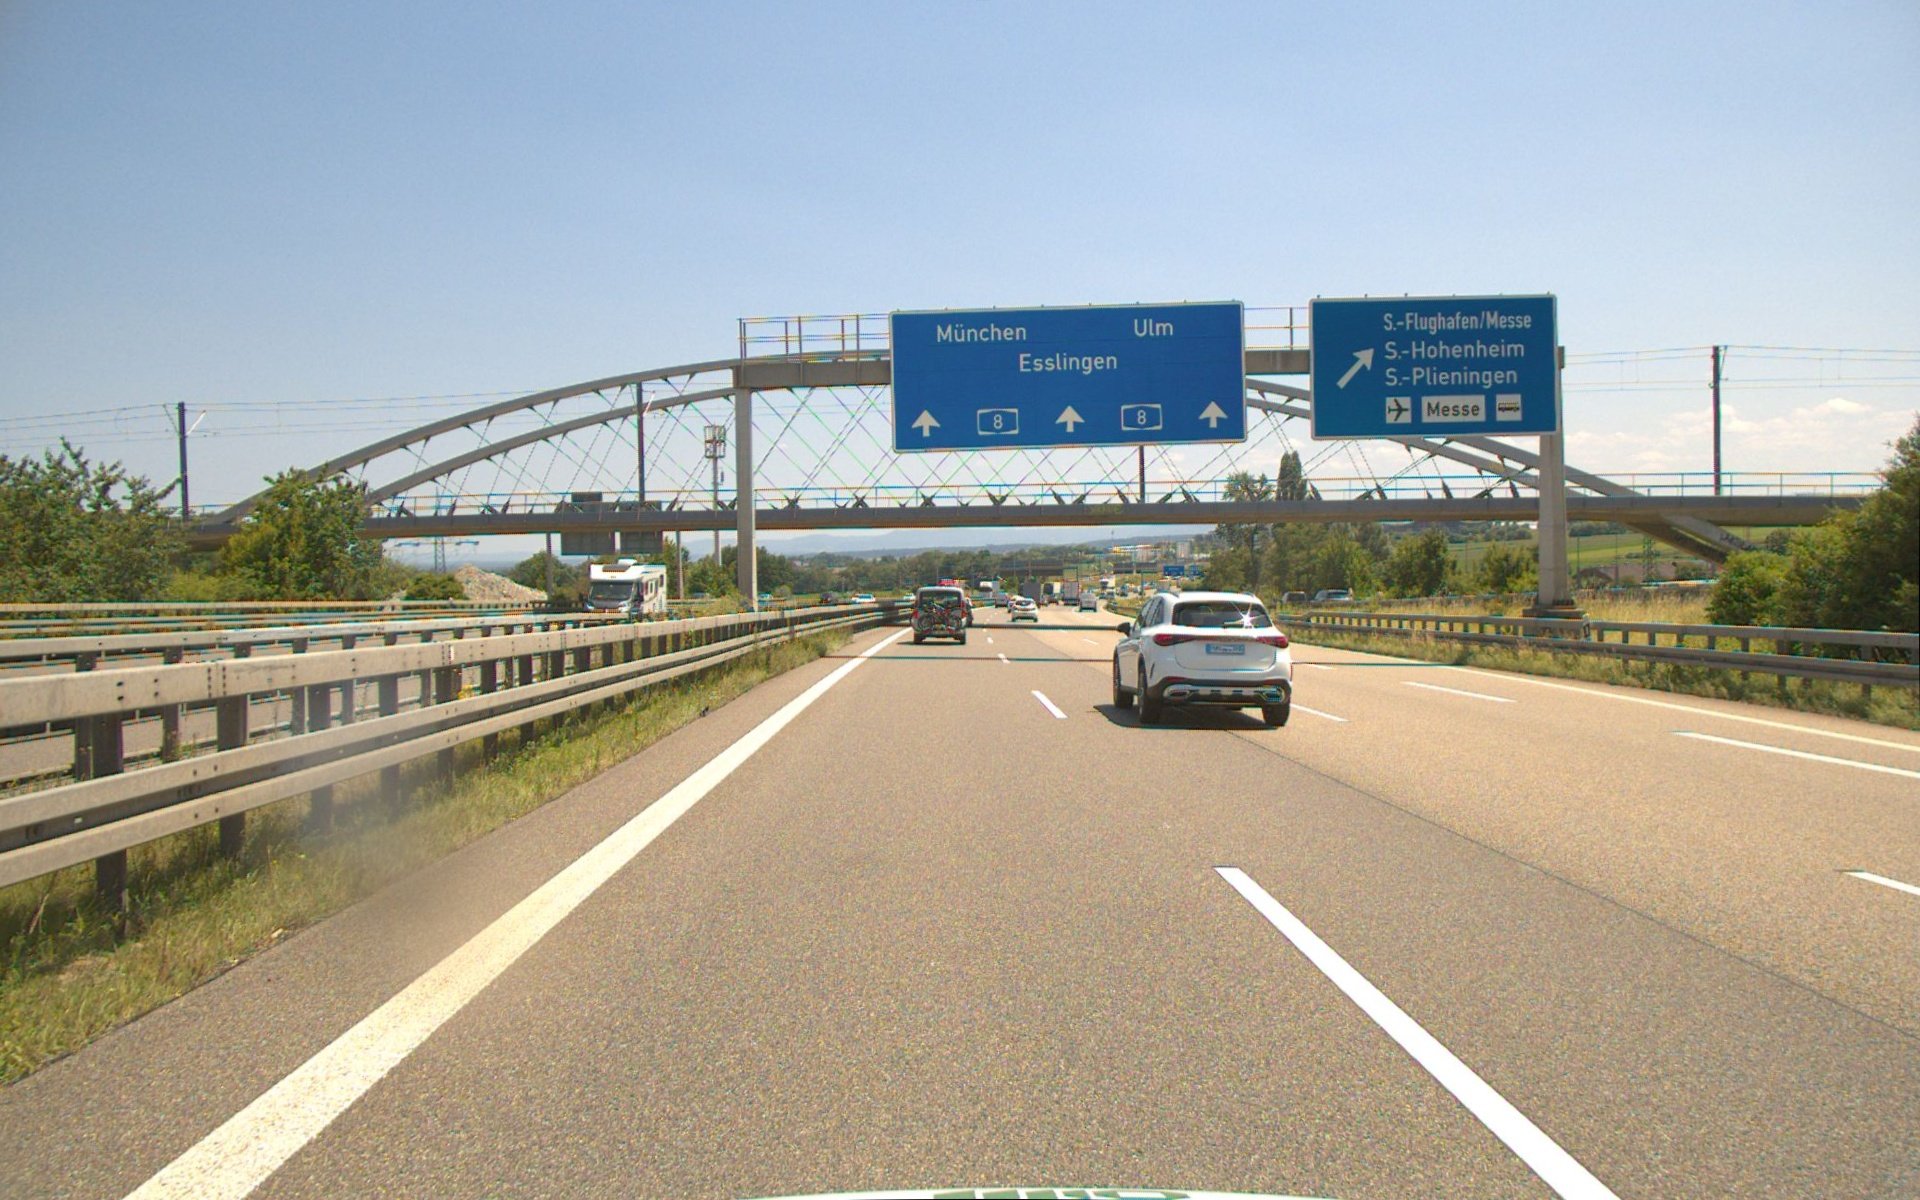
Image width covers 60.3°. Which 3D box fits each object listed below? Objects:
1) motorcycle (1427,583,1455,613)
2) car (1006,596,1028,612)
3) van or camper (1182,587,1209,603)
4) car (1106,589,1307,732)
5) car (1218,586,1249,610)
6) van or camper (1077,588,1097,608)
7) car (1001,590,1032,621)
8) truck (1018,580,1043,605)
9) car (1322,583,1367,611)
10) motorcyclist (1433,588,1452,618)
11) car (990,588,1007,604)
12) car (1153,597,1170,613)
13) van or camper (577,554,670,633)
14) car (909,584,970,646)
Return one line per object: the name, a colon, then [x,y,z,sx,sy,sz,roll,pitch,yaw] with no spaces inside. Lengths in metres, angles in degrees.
motorcycle: [22.945,-0.101,78.928,0.744,1.390,1.869,1,0,-1]
car: [5.312,0.385,154.746,1.941,1.499,4.000,0,0,1]
van or camper: [31.734,-0.632,223.069,2.481,2.049,4.453,1,0,-7]
car: [3.158,0.728,22.187,1.859,1.676,4.997,1,0,-1]
car: [23.164,-0.169,140.206,1.899,1.957,4.178,1,0,-1]
van or camper: [13.926,-0.219,181.778,2.111,2.049,4.306,1,0,3]
car: [3.608,0.348,106.796,1.887,1.952,4.518,1,0,1]
truck: [9.378,-0.968,219.248,2.645,3.163,10.666,1,0,6]
car: [22.946,-0.188,98.826,1.665,1.602,4.128,1,0,0]
motorcyclist: [22.966,0.140,78.736,0.655,1.390,0.878,1,0,0]
car: [5.001,-0.476,213.534,2.140,2.038,4.001,1,0,2]
car: [25.916,0.599,212.934,1.952,2.049,4.001,1,0,3]
van or camper: [-14.142,-0.262,70.027,2.394,3.141,8.120,0,0,-1]
car: [-0.684,0.475,54.618,1.887,1.952,4.947,1,0,-1]
